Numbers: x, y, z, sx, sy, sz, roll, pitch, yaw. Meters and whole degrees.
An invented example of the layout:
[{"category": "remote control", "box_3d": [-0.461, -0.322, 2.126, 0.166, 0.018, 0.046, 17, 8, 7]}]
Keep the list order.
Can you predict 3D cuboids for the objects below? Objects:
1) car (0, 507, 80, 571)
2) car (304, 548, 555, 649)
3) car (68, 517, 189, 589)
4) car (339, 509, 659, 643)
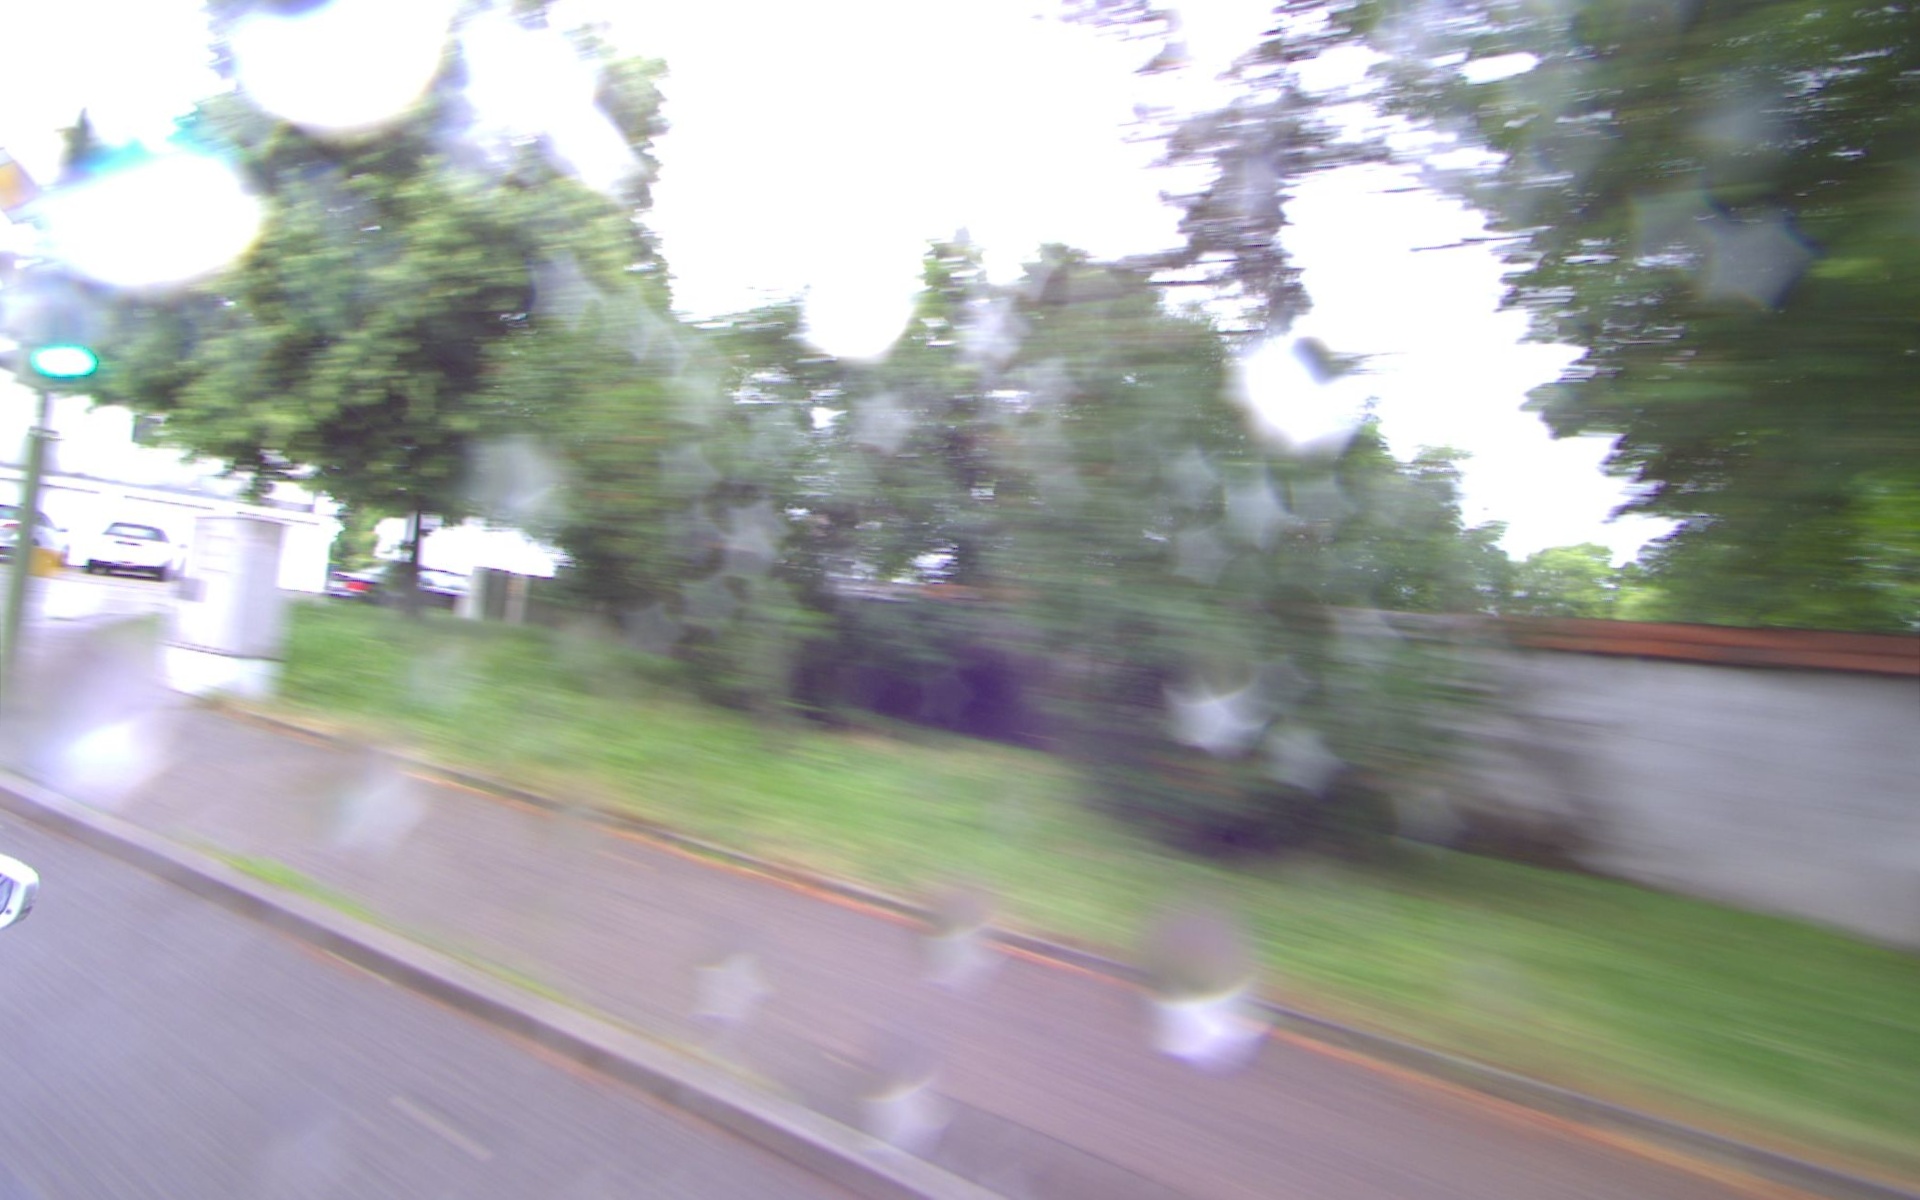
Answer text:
[{"category": "car", "box_3d": [-24.370, -1.623, 25.649, 1.978, 1.415, 4.119, 7, -1, -29]}, {"category": "car", "box_3d": [-10.974, 0.024, 21.058, 1.807, 1.458, 4.175, 6, -3, 40]}, {"category": "car", "box_3d": [-22.369, -1.275, 27.218, 1.981, 1.548, 3.964, 7, -1, -34]}, {"category": "car", "box_3d": [-6.899, -0.312, 15.277, 3.973, 1.472, 1.833, 8, -2, -42]}]
